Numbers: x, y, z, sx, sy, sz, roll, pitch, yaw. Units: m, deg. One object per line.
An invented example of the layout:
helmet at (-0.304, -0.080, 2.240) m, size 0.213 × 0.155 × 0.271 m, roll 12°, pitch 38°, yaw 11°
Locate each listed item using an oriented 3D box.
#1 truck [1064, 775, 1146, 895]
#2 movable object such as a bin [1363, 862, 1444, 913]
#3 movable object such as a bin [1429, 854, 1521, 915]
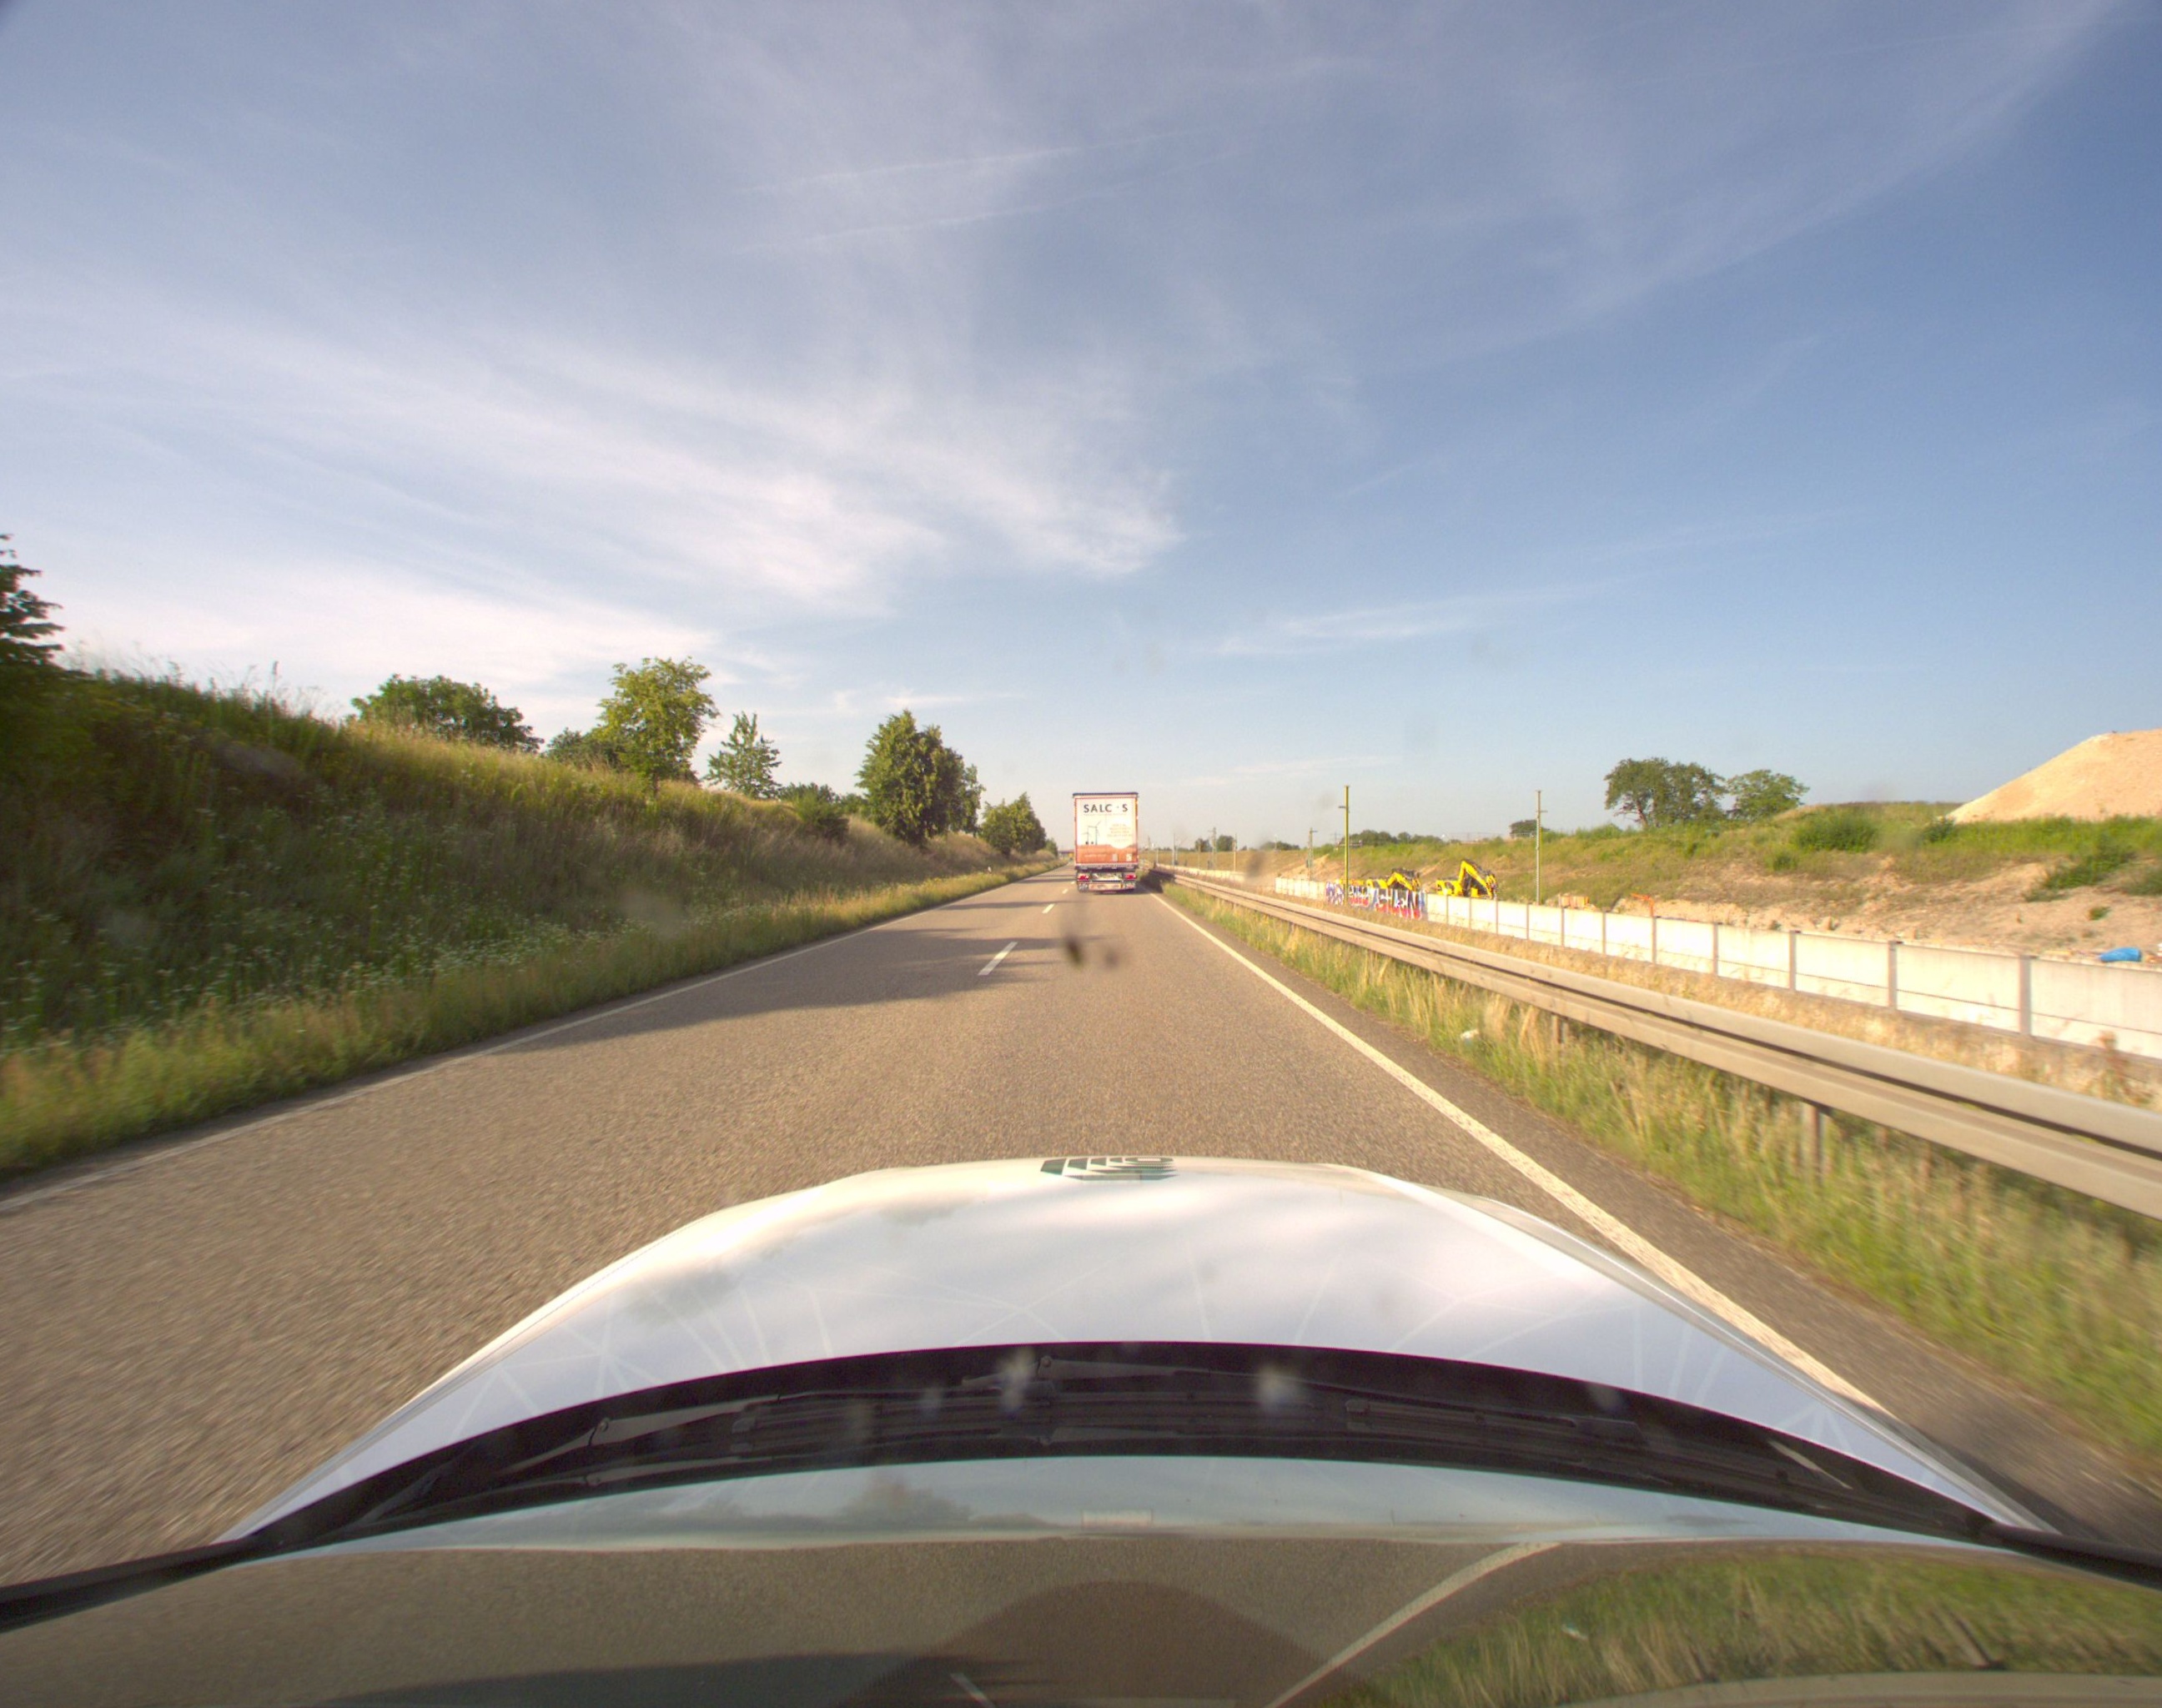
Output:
truck at (1.102, -0.753, 36.398) m, size 3.141 × 4.688 × 8.445 m, roll -1°, pitch 0°, yaw 2°
movable object such as a bin at (22.568, 2.224, 57.549) m, size 2.612 × 3.239 × 8.074 m, roll 0°, pitch 0°, yaw 1°
movable object such as a bin at (27.005, 1.951, 56.288) m, size 2.787 × 3.886 × 7.539 m, roll 0°, pitch 0°, yaw 1°
